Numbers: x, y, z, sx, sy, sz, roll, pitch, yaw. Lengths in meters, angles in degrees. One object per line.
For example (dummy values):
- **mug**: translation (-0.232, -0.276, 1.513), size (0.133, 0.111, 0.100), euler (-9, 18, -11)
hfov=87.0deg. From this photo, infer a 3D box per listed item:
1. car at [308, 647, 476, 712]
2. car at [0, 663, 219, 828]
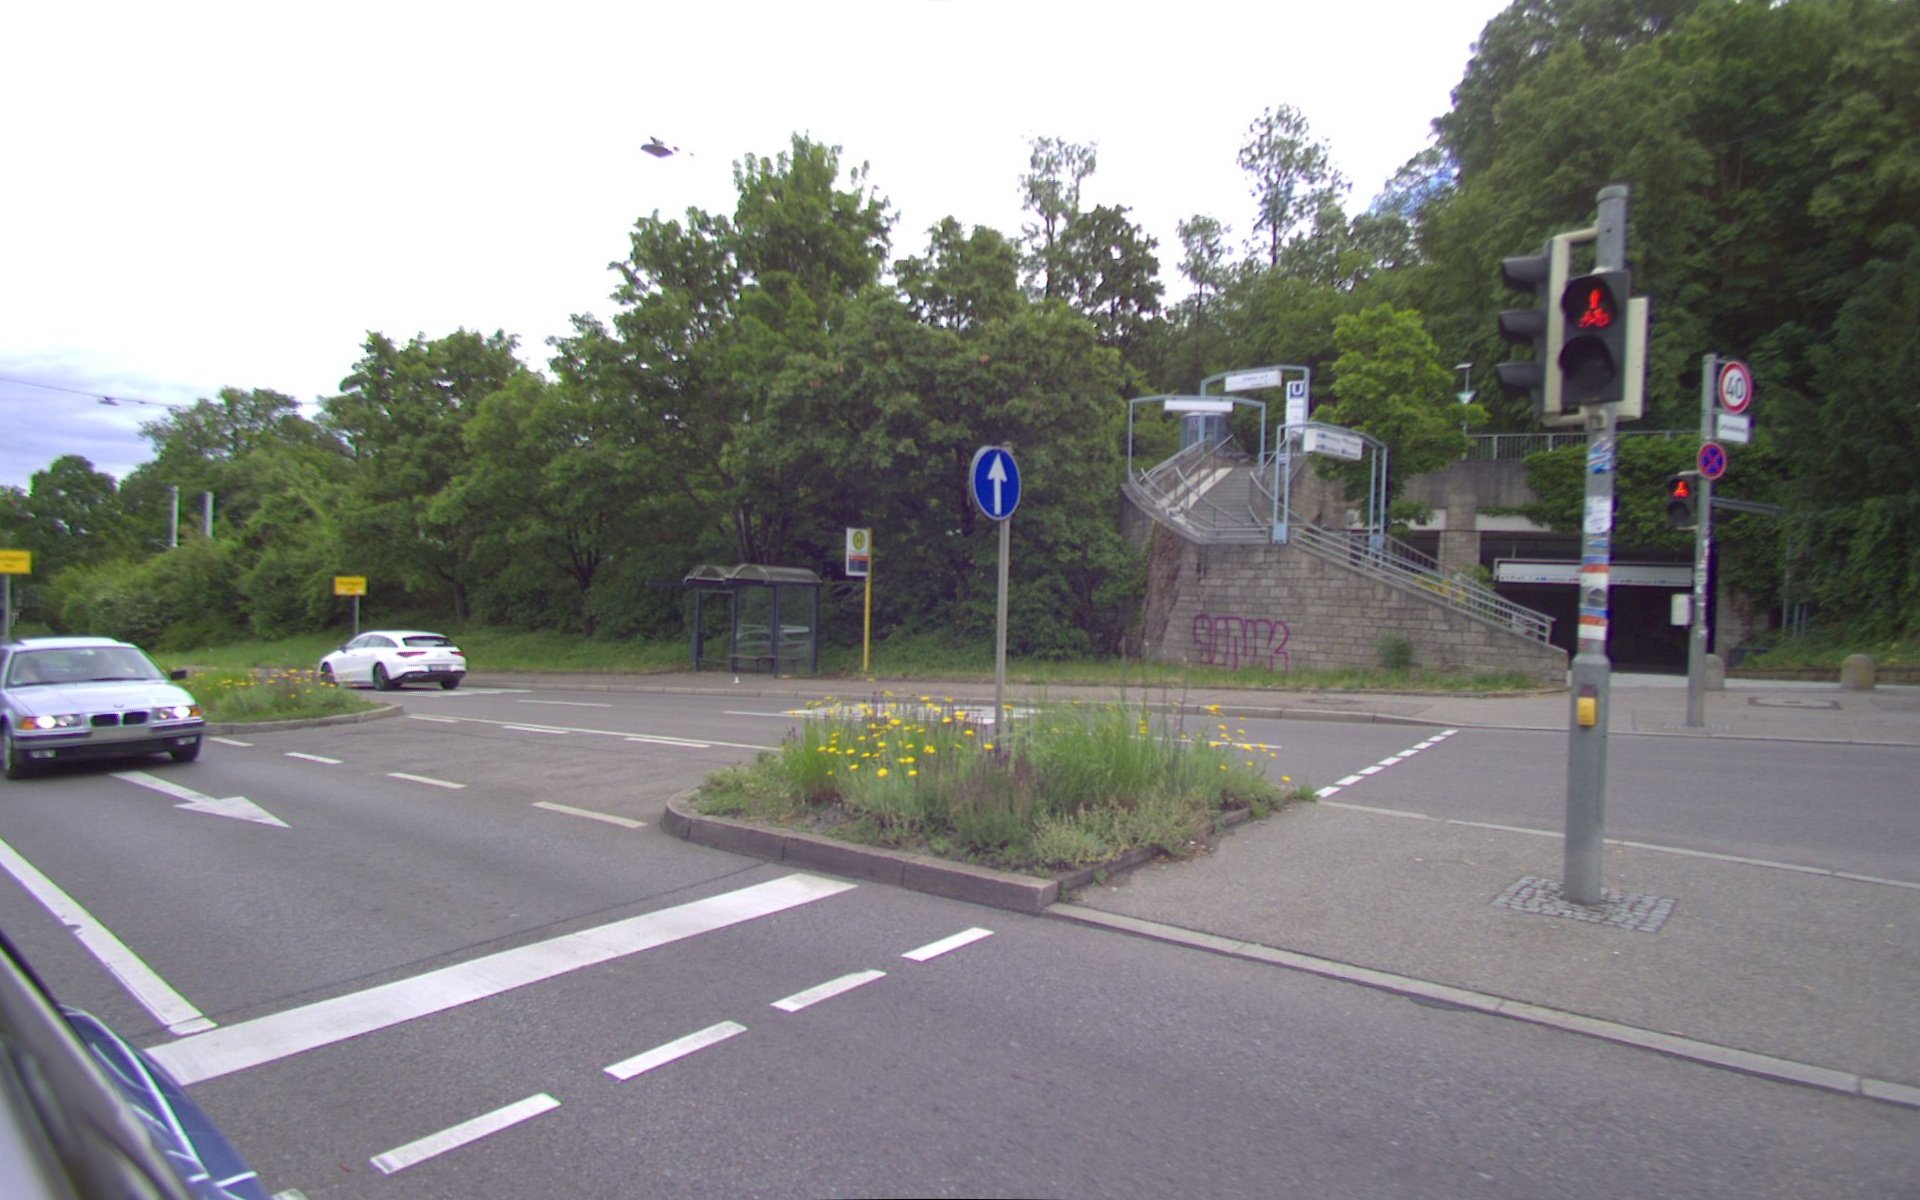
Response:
- **car**: translation (-13.831, 1.874, 24.568), size (4.597, 1.404, 1.703), euler (-2, -2, 34)
- **car**: translation (-10.092, 1.480, 11.529), size (4.613, 1.404, 1.734), euler (-3, -2, 41)
